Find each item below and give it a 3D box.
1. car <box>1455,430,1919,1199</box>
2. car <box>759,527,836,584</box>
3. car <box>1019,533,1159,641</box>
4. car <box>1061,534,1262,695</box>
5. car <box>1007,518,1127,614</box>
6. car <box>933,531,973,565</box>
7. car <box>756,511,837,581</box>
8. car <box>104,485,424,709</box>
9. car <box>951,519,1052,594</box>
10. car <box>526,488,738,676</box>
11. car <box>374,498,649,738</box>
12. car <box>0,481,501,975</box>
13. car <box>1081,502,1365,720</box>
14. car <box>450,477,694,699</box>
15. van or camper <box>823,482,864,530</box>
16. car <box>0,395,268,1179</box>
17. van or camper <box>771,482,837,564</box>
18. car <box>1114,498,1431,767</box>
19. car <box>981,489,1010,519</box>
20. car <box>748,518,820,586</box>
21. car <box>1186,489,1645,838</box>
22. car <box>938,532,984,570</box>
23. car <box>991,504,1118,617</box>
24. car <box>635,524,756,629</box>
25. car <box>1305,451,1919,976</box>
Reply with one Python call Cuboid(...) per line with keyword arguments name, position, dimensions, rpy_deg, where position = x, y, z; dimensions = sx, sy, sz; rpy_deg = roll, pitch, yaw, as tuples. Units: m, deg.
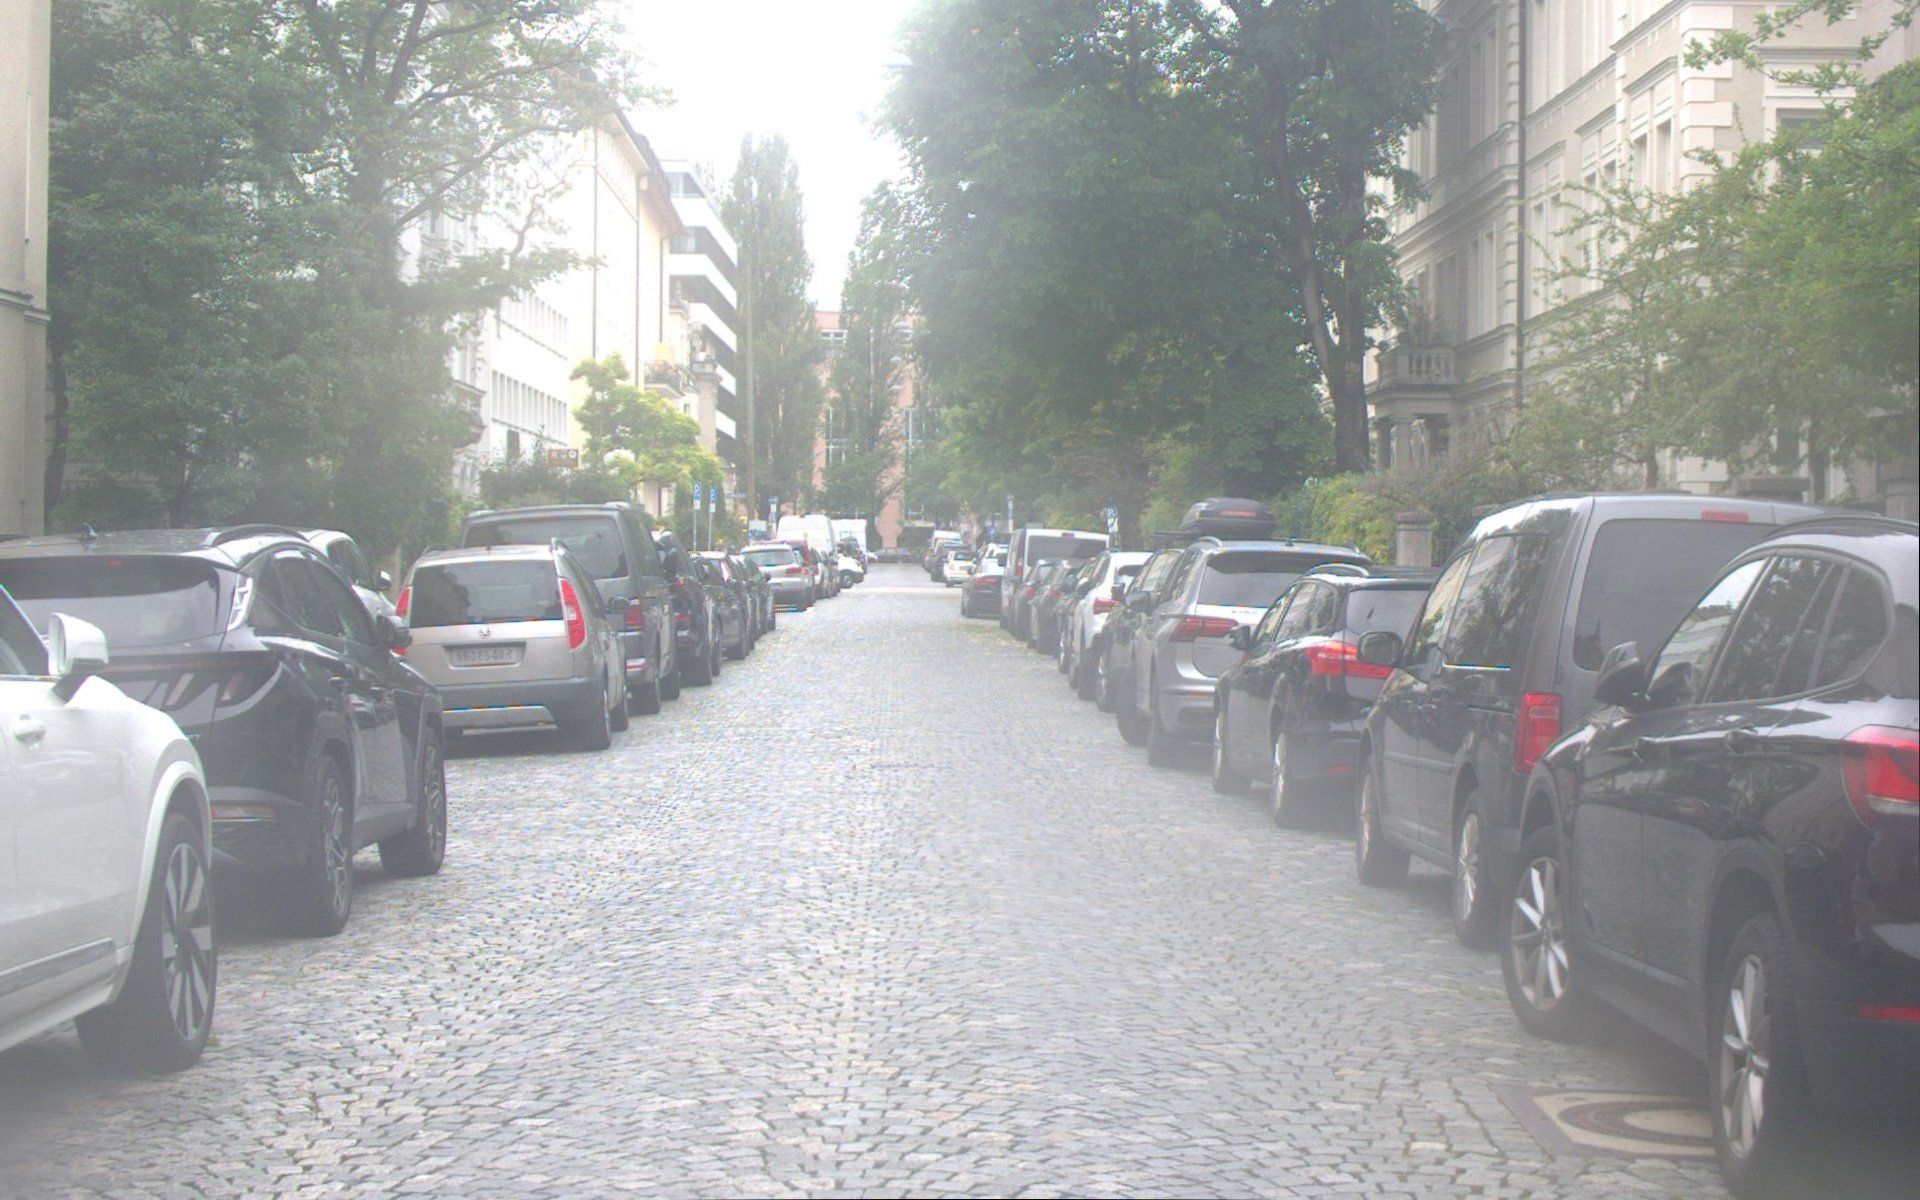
Cuboid(name="car", position=(2.698, 0.516, 9.259), dimensions=(1.860, 1.696, 4.813), rpy_deg=(3, 1, -1))
Cuboid(name="car", position=(-4.794, -1.318, 101.952), dimensions=(1.873, 1.574, 4.208), rpy_deg=(3, 1, 2))
Cuboid(name="car", position=(1.898, -0.234, 51.658), dimensions=(1.713, 1.467, 4.269), rpy_deg=(3, 1, -2))
Cuboid(name="car", position=(2.077, 0.097, 36.674), dimensions=(1.873, 1.485, 4.617), rpy_deg=(3, 2, 1))
Cuboid(name="car", position=(1.786, -0.603, 58.672), dimensions=(1.837, 1.485, 4.422), rpy_deg=(3, 1, 0))
Cuboid(name="car", position=(-0.334, -2.402, 158.551), dimensions=(1.790, 1.515, 4.000), rpy_deg=(1, 1, 0))
Cuboid(name="car", position=(-4.000, -1.333, 83.898), dimensions=(1.873, 1.574, 4.256), rpy_deg=(-2, 1, -3))
Cuboid(name="car", position=(-6.059, -0.072, 30.464), dimensions=(1.945, 1.729, 4.658), rpy_deg=(3, 1, -2))
Cuboid(name="car", position=(0.884, -0.983, 76.299), dimensions=(1.873, 1.498, 4.512), rpy_deg=(3, 1, -3))
Cuboid(name="car", position=(-3.676, -0.248, 39.378), dimensions=(1.993, 1.910, 5.178), rpy_deg=(-3, 1, -2))
Cuboid(name="car", position=(-3.560, 0.085, 27.995), dimensions=(1.865, 1.729, 4.404), rpy_deg=(-2, 1, -3))
Cuboid(name="car", position=(-3.311, 0.444, 14.930), dimensions=(1.917, 1.729, 4.756), rpy_deg=(-4, 1, 0))
Cuboid(name="car", position=(2.318, 0.044, 31.540), dimensions=(1.873, 1.729, 4.748), rpy_deg=(4, 1, -3))
Cuboid(name="car", position=(-3.619, -0.156, 32.814), dimensions=(1.873, 1.910, 4.828), rpy_deg=(-2, 1, -2))
Cuboid(name="van or camper", position=(-6.793, -5.489, 201.407), dimensions=(2.256, 2.733, 5.098), rpy_deg=(1, 1, -1))
Cuboid(name="car", position=(-3.225, 0.440, 8.364), dimensions=(2.006, 1.802, 5.175), rpy_deg=(-1, 1, 0))
Cuboid(name="van or camper", position=(-5.284, -2.615, 116.876), dimensions=(1.993, 2.643, 4.000), rpy_deg=(-2, 1, 0))
Cuboid(name="car", position=(2.210, 0.178, 25.586), dimensions=(1.873, 1.729, 4.892), rpy_deg=(2, 1, 0))
Cuboid(name="car", position=(2.481, -6.748, 240.961), dimensions=(1.993, 2.007, 4.000), rpy_deg=(1, 1, 0))
Cuboid(name="car", position=(-4.909, -1.355, 96.448), dimensions=(1.873, 1.770, 4.123), rpy_deg=(-3, 1, -2))
Cuboid(name="car", position=(2.575, 0.294, 20.615), dimensions=(1.873, 1.729, 4.659), rpy_deg=(4, 1, -2))
Cuboid(name="car", position=(0.035, -1.980, 137.973), dimensions=(1.790, 1.515, 4.000), rpy_deg=(1, 1, 0))
Cuboid(name="car", position=(1.721, -0.766, 64.243), dimensions=(1.873, 1.921, 5.165), rpy_deg=(3, 1, -3))
Cuboid(name="car", position=(-3.838, -0.370, 50.121), dimensions=(1.662, 1.439, 4.172), rpy_deg=(-1, 1, -4))
Cuboid(name="car", position=(2.746, 0.374, 14.700), dimensions=(1.788, 1.790, 4.510), rpy_deg=(4, 1, -2))
